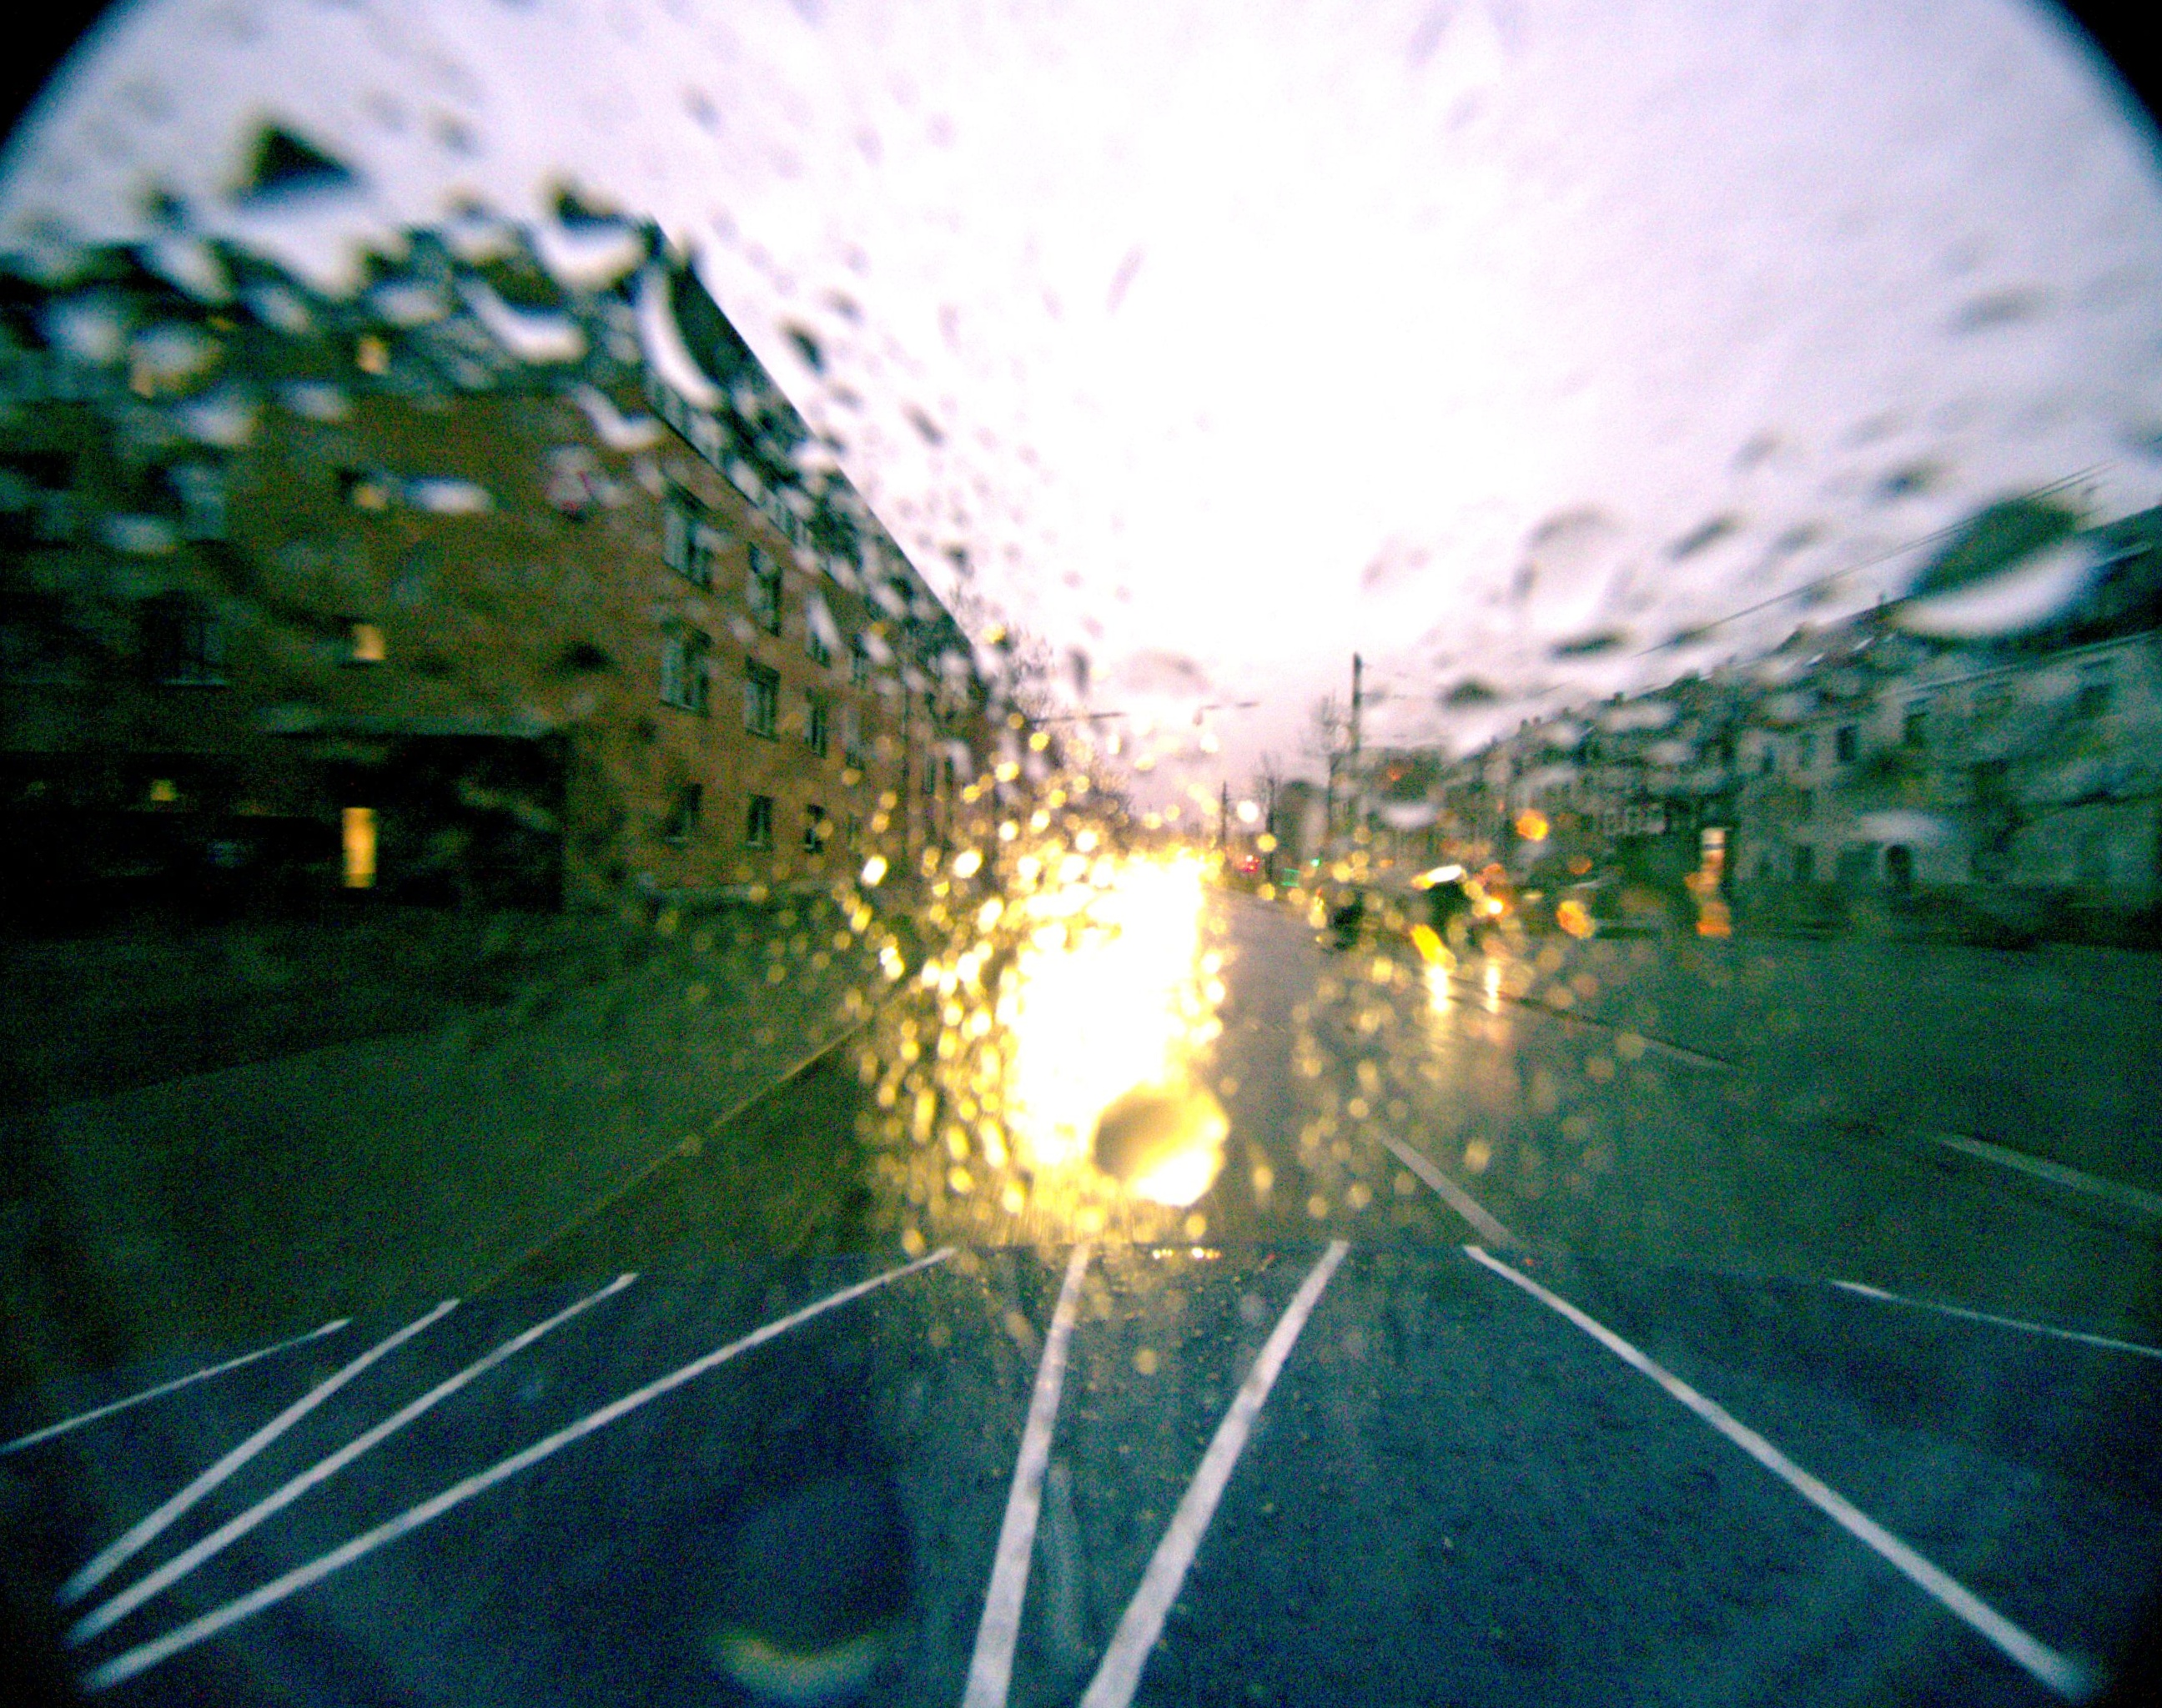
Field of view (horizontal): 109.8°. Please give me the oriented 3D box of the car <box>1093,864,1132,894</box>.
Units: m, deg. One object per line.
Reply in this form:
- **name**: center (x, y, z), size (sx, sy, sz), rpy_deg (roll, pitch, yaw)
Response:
- **car**: center (1.656, 1.240, 39.067), size (1.813, 1.384, 4.055), rpy_deg (0, 0, 5)

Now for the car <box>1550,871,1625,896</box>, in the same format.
- **car**: center (33.979, 1.974, 51.015), size (3.988, 1.477, 2.005), rpy_deg (1, 0, 39)

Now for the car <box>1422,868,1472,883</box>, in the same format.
- **car**: center (35.693, 2.094, 74.098), size (3.988, 1.324, 2.005), rpy_deg (1, 0, 39)

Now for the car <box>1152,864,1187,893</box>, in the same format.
- **car**: center (4.869, 1.327, 42.083), size (1.813, 1.487, 4.055), rpy_deg (0, 0, 5)

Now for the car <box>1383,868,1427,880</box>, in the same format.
- **car**: center (35.340, 2.216, 82.898), size (3.988, 1.162, 2.005), rpy_deg (1, 0, 43)

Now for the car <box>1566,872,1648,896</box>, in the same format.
- **car**: center (33.180, 1.883, 47.970), size (3.988, 1.324, 2.005), rpy_deg (1, 0, 42)

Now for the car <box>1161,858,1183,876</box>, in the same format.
- **car**: center (9.314, 1.285, 78.042), size (1.998, 1.745, 4.002), rpy_deg (2, -1, 4)

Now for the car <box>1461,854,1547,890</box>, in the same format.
- **car**: center (35.184, 1.488, 63.279), size (2.005, 2.781, 5.849), rpy_deg (1, 0, -44)

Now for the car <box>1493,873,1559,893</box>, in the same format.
- **car**: center (33.821, 2.203, 57.793), size (3.988, 1.324, 2.005), rpy_deg (1, 0, 42)

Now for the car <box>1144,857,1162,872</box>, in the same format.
- **car**: center (8.664, 1.261, 91.610), size (1.998, 1.745, 4.002), rpy_deg (2, -1, 4)

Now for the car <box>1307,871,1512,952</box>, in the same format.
- **car**: center (6.941, 1.131, 16.750), size (1.815, 1.421, 4.822), rpy_deg (0, 0, -10)

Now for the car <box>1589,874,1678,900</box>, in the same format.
- **car**: center (32.338, 1.892, 44.499), size (3.988, 1.324, 2.005), rpy_deg (1, 0, 42)
